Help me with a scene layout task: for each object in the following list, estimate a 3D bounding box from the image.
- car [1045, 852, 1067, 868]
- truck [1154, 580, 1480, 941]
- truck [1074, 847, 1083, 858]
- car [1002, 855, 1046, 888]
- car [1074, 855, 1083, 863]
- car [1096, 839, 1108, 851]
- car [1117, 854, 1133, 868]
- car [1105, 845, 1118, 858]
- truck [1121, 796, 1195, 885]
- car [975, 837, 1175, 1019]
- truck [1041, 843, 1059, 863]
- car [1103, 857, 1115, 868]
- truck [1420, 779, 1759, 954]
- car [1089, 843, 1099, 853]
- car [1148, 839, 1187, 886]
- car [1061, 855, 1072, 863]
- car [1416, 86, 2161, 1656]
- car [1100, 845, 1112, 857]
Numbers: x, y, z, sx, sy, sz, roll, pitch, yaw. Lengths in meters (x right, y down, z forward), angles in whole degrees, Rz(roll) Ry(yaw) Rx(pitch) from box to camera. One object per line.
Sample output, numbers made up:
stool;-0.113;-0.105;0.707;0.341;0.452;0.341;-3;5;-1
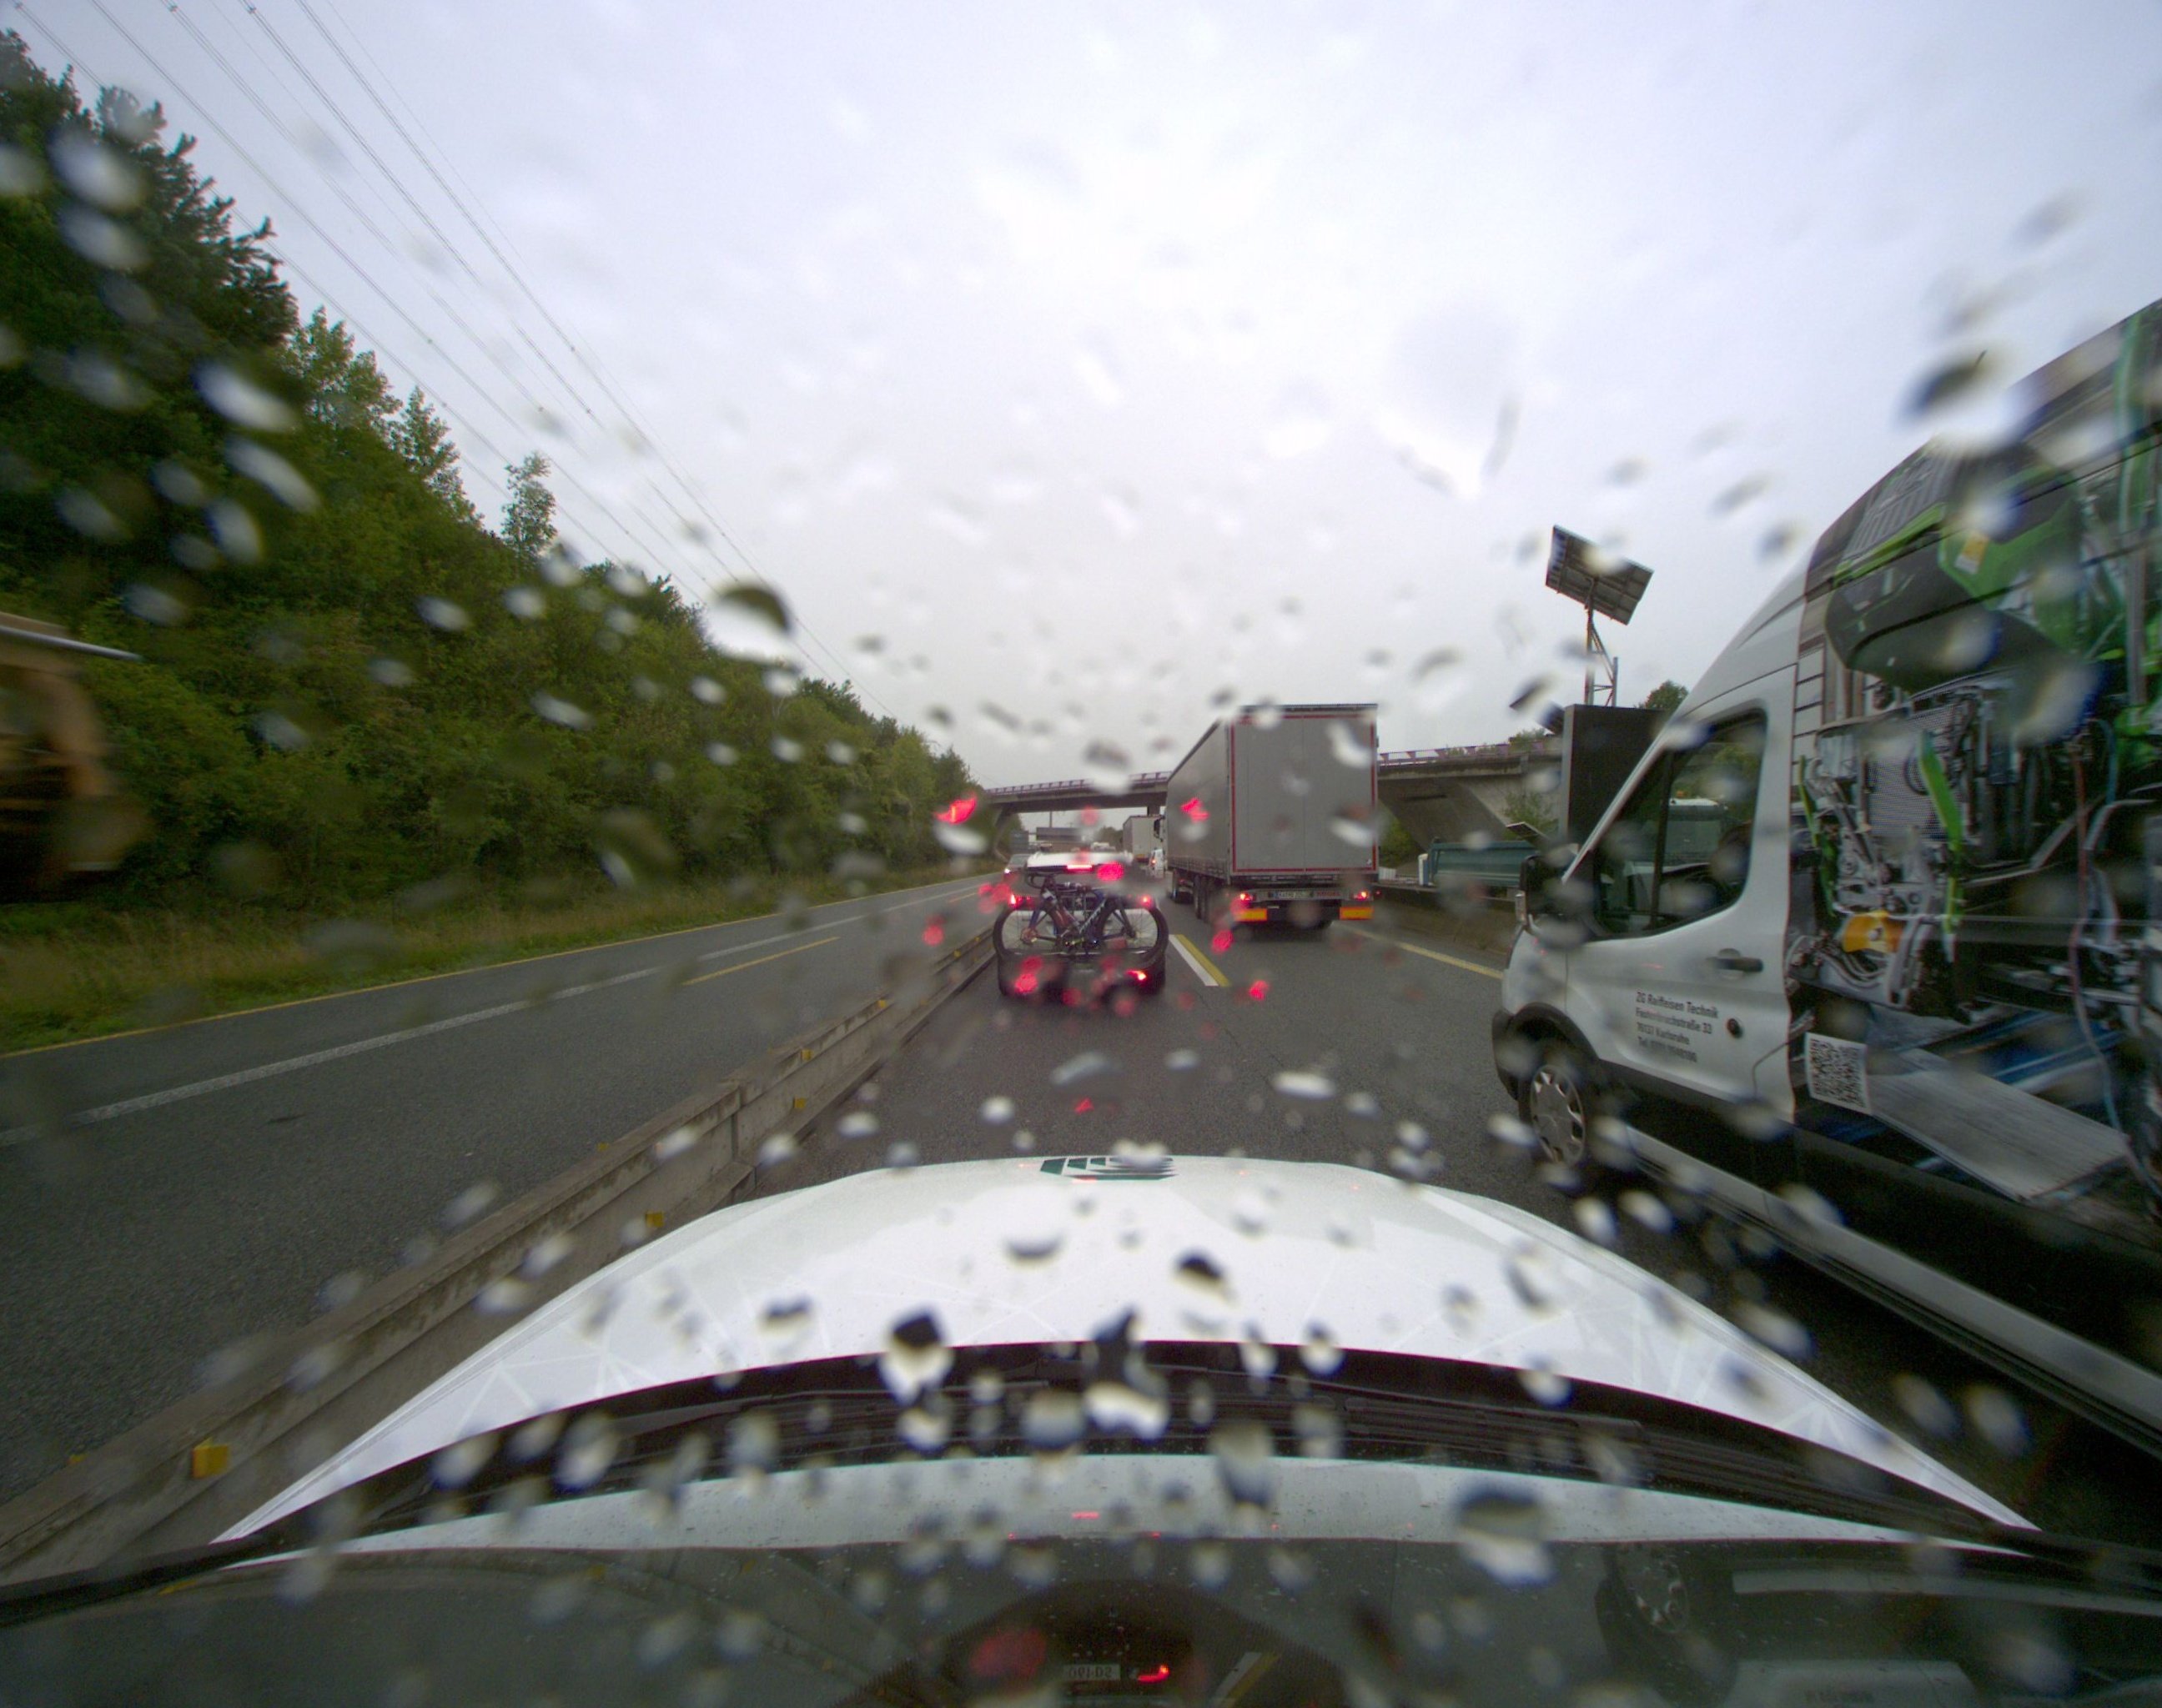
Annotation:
car;-2.382;0.583;78.494;1.804;1.488;4.397;-1;0;1
truck;4.641;-1.400;23.071;3.964;5.673;20.384;-1;0;2
truck;-0.862;-0.431;254.975;2.526;3.352;12.051;-1;0;1
car;-2.789;0.832;40.708;1.804;1.559;3.990;-1;0;1
car;-0.495;0.999;151.538;1.680;1.409;3.930;-1;0;0
car;4.028;-1.664;153.163;2.231;2.307;4.574;-1;-1;2
car;4.834;0.787;89.548;1.632;1.497;3.668;-1;0;2
car;4.810;-0.427;128.283;1.986;2.014;4.002;-1;-1;2
truck;5.532;-0.802;63.025;4.723;5.673;20.391;-1;0;3
car;0.068;0.692;9.723;1.802;1.637;4.639;-1;0;3
truck;-5.939;-0.151;158.214;2.671;3.656;12.317;-1;0;2
car;3.958;1.153;116.110;1.632;1.497;3.668;-1;0;2
truck;11.040;0.256;19.214;2.511;3.132;9.121;-1;0;2
car;2.749;-1.224;171.064;1.986;2.126;4.528;-1;-1;2
car;4.260;0.415;40.729;1.663;2.180;4.538;-1;-1;3
car;-2.648;0.972;146.857;1.773;1.443;4.328;-1;0;1
car;2.930;0.032;1.763;2.135;2.676;6.121;-1;0;3
car;4.294;-0.437;140.447;1.986;2.014;4.002;-1;-1;2
